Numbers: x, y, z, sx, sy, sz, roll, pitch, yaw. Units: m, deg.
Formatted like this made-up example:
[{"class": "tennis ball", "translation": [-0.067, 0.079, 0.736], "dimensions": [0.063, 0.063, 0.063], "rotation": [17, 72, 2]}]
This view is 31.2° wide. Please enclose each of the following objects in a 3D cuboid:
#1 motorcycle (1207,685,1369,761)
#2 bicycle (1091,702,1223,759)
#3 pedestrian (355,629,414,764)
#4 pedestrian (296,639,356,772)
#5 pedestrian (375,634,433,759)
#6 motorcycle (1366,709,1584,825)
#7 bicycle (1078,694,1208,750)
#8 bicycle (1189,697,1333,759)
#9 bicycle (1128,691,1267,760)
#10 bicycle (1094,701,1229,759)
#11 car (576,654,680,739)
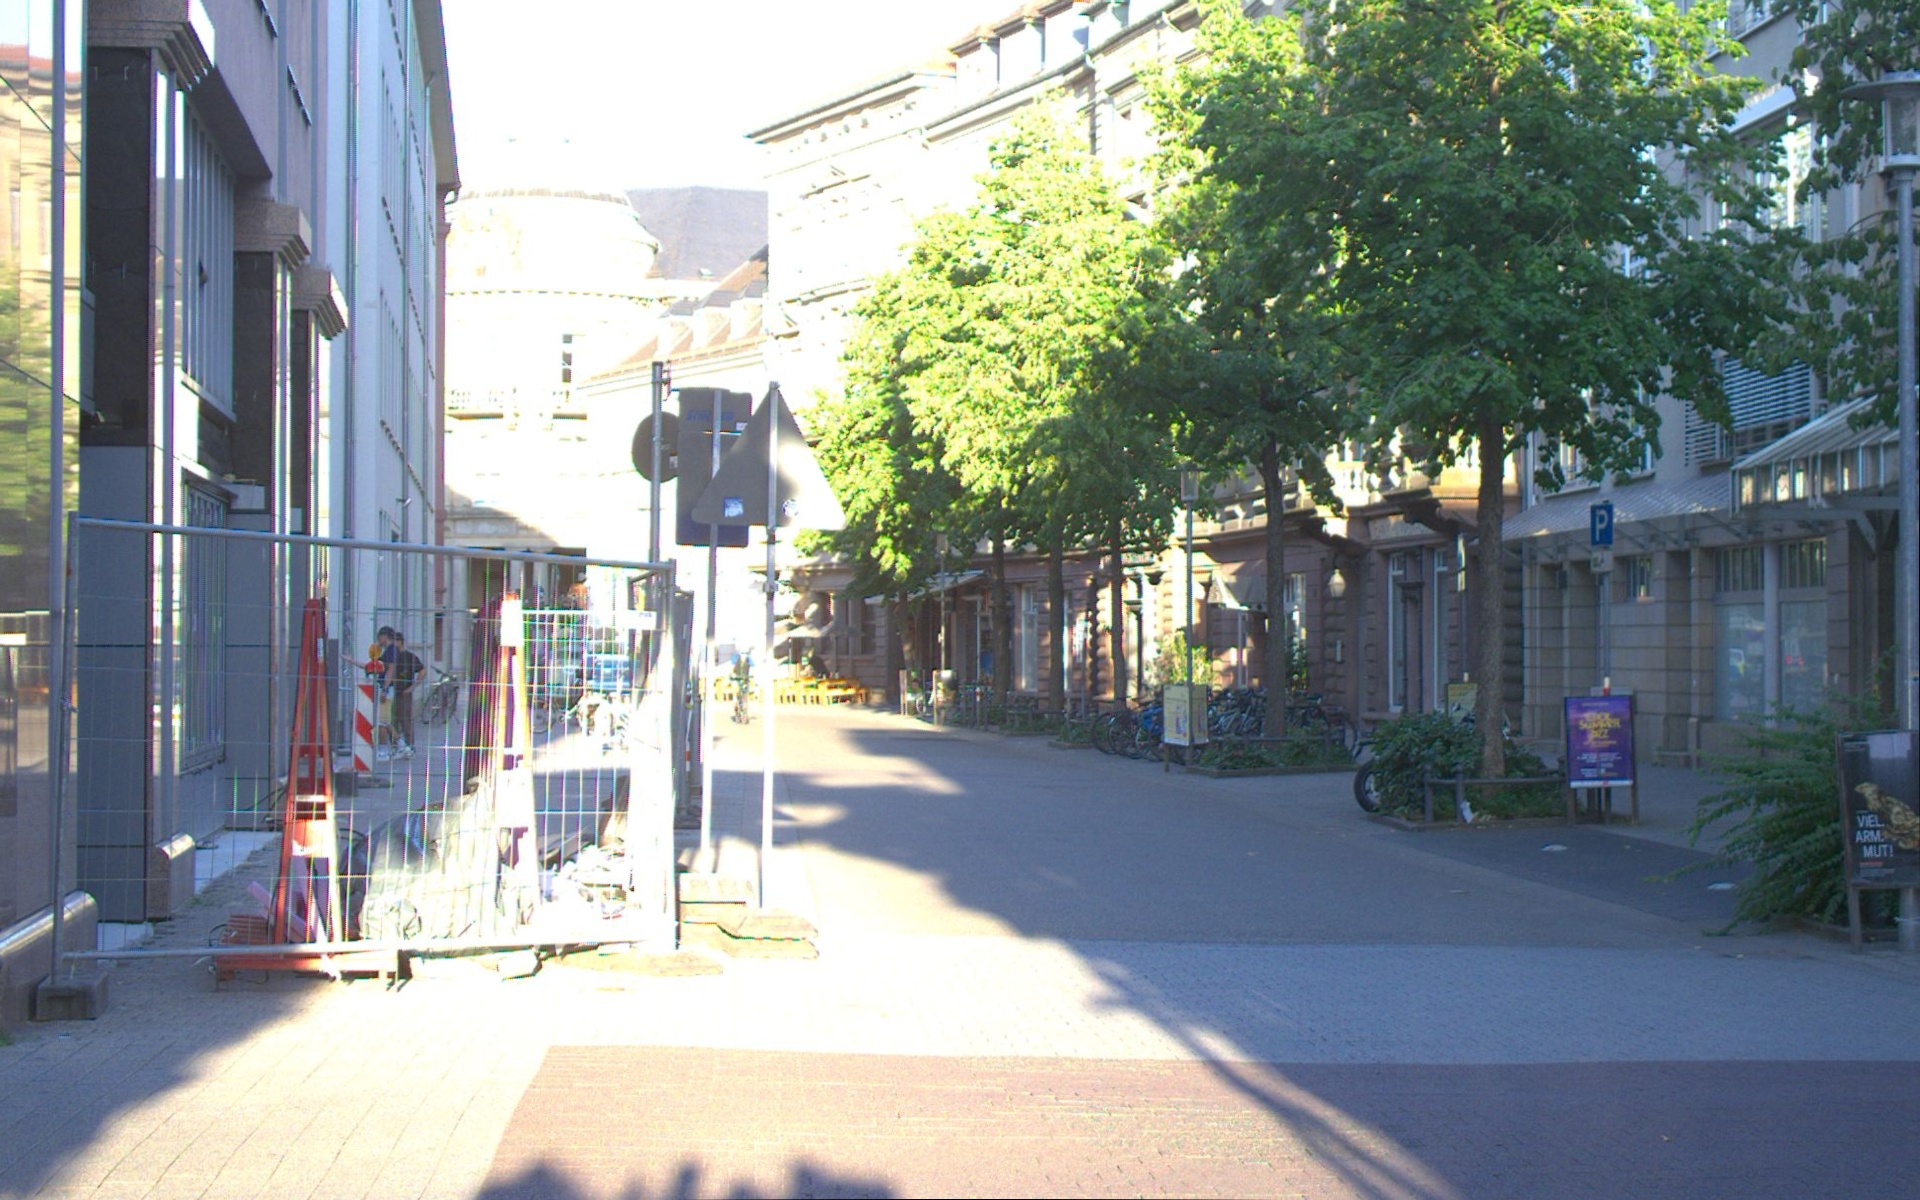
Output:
[{"class": "motorcycle", "translation": [4.966, 1.849, 51.978], "dimensions": [2.470, 1.091, 0.591], "rotation": [0, -2, -27]}, {"class": "bicycle", "translation": [3.351, 2.214, 58.444], "dimensions": [2.152, 0.923, 0.591], "rotation": [-1, -2, -12]}, {"class": "pedestrian", "translation": [-7.553, 1.266, 45.152], "dimensions": [0.654, 1.758, 0.634], "rotation": [-1, -1, 0]}, {"class": "pedestrian", "translation": [-8.293, 1.373, 44.977], "dimensions": [0.654, 1.720, 0.634], "rotation": [-1, -1, 0]}, {"class": "pedestrian", "translation": [-7.381, 1.273, 45.674], "dimensions": [0.654, 1.646, 0.634], "rotation": [-1, -1, 0]}, {"class": "motorcycle", "translation": [5.312, 1.717, 35.496], "dimensions": [2.152, 1.147, 0.494], "rotation": [-1, -2, -7]}, {"class": "bicycle", "translation": [3.151, 2.100, 59.288], "dimensions": [2.152, 0.923, 0.591], "rotation": [-1, -2, -12]}, {"class": "bicycle", "translation": [4.661, 1.977, 53.161], "dimensions": [2.152, 0.923, 0.591], "rotation": [0, -2, -20]}, {"class": "bicycle", "translation": [3.802, 2.006, 54.967], "dimensions": [2.154, 1.057, 0.590], "rotation": [-1, -2, 10]}, {"class": "bicycle", "translation": [3.345, 2.157, 57.182], "dimensions": [2.152, 0.923, 0.591], "rotation": [-1, -2, -12]}, {"class": "car", "translation": [-6.848, 1.965, 70.610], "dimensions": [1.841, 1.678, 3.645], "rotation": [-1, -1, -10]}]
